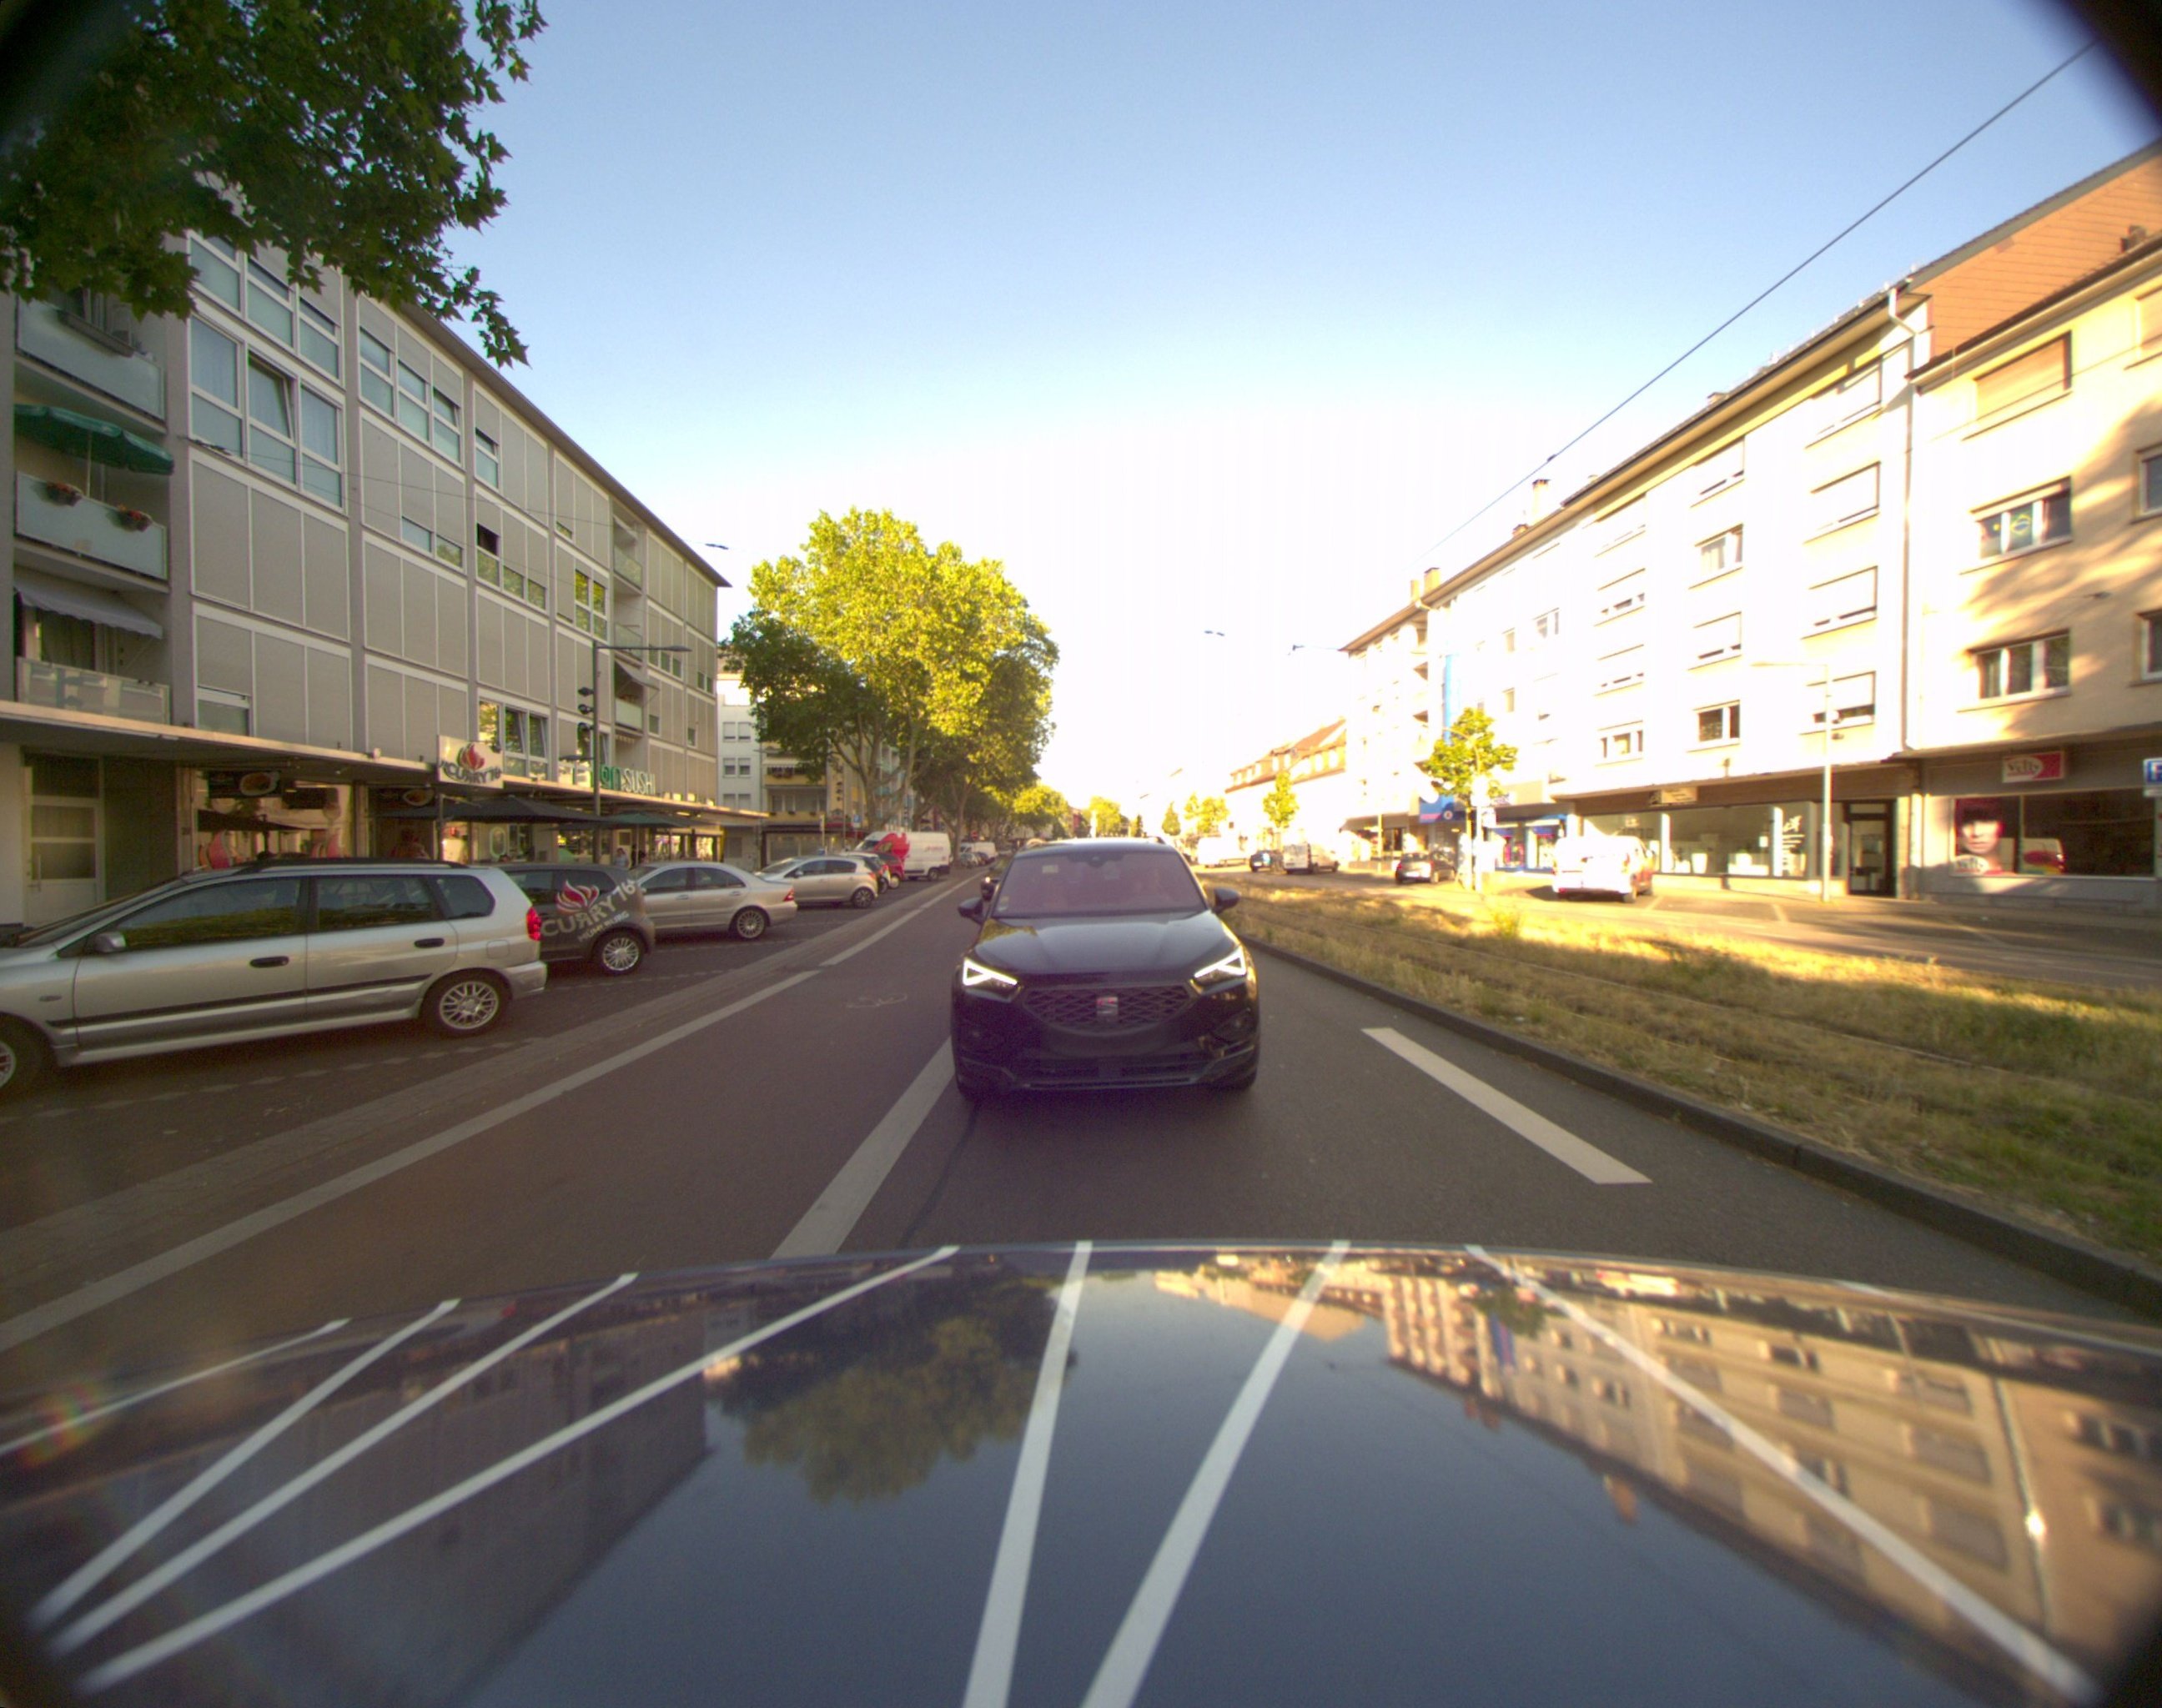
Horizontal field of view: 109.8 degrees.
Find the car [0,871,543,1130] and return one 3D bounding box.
[{"bbox_3d":[-6.890,0.958,6.005,1.672,1.533,3.993,2,1,38],"label":"car"}]

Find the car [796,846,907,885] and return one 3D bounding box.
[{"bbox_3d":[-9.235,0.457,30.624,3.948,1.421,1.672,1,2,-30],"label":"car"}]

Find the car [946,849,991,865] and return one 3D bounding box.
[{"bbox_3d":[-10.756,0.275,72.905,1.778,1.396,3.943,1,1,44],"label":"car"}]

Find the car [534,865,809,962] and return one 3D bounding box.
[{"bbox_3d":[-7.056,0.921,13.393,1.592,1.393,3.950,2,1,41],"label":"car"}]

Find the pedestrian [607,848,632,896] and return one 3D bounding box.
[{"bbox_3d":[-15.828,0.614,26.061,0.537,1.630,0.478,0,1,-4],"label":"pedestrian"}]

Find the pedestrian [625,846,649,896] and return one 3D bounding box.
[{"bbox_3d":[-15.288,0.582,26.196,0.545,1.710,0.457,0,1,-4],"label":"pedestrian"}]

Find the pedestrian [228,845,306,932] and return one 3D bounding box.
[{"bbox_3d":[-15.152,0.619,14.156,0.583,1.573,0.771,0,1,2],"label":"pedestrian"}]

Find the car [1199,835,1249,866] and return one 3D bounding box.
[{"bbox_3d":[12.971,-0.367,68.612,1.922,2.599,6.601,-1,1,34],"label":"car"}]

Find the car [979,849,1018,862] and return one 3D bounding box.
[{"bbox_3d":[-8.990,0.182,82.654,1.778,1.326,3.943,1,1,44],"label":"car"}]

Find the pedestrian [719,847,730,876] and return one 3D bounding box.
[{"bbox_3d":[-21.193,0.420,45.133,0.481,1.720,0.347,-1,1,-38],"label":"pedestrian"}]

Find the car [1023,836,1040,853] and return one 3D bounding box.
[{"bbox_3d":[-9.092,-1.732,139.727,2.660,2.989,7.131,-2,1,-2],"label":"car"}]

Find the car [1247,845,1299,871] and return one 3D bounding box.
[{"bbox_3d":[13.801,0.239,54.534,3.922,1.704,1.853,-2,1,-45],"label":"car"}]

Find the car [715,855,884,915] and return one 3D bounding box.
[{"bbox_3d":[-7.520,0.791,20.528,3.950,1.420,1.555,1,1,-45],"label":"car"}]

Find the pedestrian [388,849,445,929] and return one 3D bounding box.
[{"bbox_3d":[-13.296,0.687,15.227,0.561,1.567,0.642,0,1,-5],"label":"pedestrian"}]

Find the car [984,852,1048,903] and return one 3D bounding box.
[{"bbox_3d":[-2.077,0.715,25.325,1.729,1.443,4.227,-2,1,-1],"label":"car"}]

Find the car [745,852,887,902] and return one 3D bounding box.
[{"bbox_3d":[-8.382,0.720,24.150,3.949,1.420,1.672,1,1,-34],"label":"car"}]

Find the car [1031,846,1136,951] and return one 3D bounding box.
[{"bbox_3d":[0.023,0.706,14.328,1.646,1.646,3.999,-2,1,-1],"label":"car"}]

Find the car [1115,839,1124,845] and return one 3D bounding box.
[{"bbox_3d":[11.288,-3.550,223.352,1.999,1.783,3.998,0,1,-4],"label":"car"}]

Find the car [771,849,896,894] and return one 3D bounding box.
[{"bbox_3d":[-8.860,0.636,27.312,3.948,1.421,1.672,2,2,-32],"label":"car"}]

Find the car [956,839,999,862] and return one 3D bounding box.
[{"bbox_3d":[-11.556,-0.420,85.104,1.973,2.454,4.605,1,1,44],"label":"car"}]

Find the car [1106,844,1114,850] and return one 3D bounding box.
[{"bbox_3d":[7.415,-1.785,195.623,1.846,1.571,4.449,-2,1,-1],"label":"car"}]

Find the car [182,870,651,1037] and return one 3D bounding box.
[{"bbox_3d":[-7.585,0.961,9.038,1.672,1.420,3.950,2,1,38],"label":"car"}]

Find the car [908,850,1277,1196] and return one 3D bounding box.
[{"bbox_3d":[0.082,0.838,5.799,1.785,1.639,3.999,-2,1,1],"label":"car"}]

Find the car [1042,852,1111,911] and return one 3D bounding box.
[{"bbox_3d":[-0.140,0.717,21.851,1.729,1.467,3.999,-2,1,-1],"label":"car"}]

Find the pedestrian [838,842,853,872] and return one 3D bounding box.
[{"bbox_3d":[-15.664,0.195,50.539,0.748,2.002,0.764,0,1,-4],"label":"pedestrian"}]

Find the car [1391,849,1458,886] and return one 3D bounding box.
[{"bbox_3d":[15.398,0.566,33.949,1.731,1.489,4.008,-1,1,40],"label":"car"}]

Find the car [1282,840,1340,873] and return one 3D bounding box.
[{"bbox_3d":[14.529,0.107,47.844,1.853,1.927,4.513,-1,1,40],"label":"car"}]

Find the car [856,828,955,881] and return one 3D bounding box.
[{"bbox_3d":[-8.673,0.042,37.904,4.606,2.479,1.672,0,-1,-44],"label":"car"}]

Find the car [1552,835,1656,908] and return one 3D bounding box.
[{"bbox_3d":[15.593,0.449,22.579,1.853,1.888,4.007,-1,2,44],"label":"car"}]
